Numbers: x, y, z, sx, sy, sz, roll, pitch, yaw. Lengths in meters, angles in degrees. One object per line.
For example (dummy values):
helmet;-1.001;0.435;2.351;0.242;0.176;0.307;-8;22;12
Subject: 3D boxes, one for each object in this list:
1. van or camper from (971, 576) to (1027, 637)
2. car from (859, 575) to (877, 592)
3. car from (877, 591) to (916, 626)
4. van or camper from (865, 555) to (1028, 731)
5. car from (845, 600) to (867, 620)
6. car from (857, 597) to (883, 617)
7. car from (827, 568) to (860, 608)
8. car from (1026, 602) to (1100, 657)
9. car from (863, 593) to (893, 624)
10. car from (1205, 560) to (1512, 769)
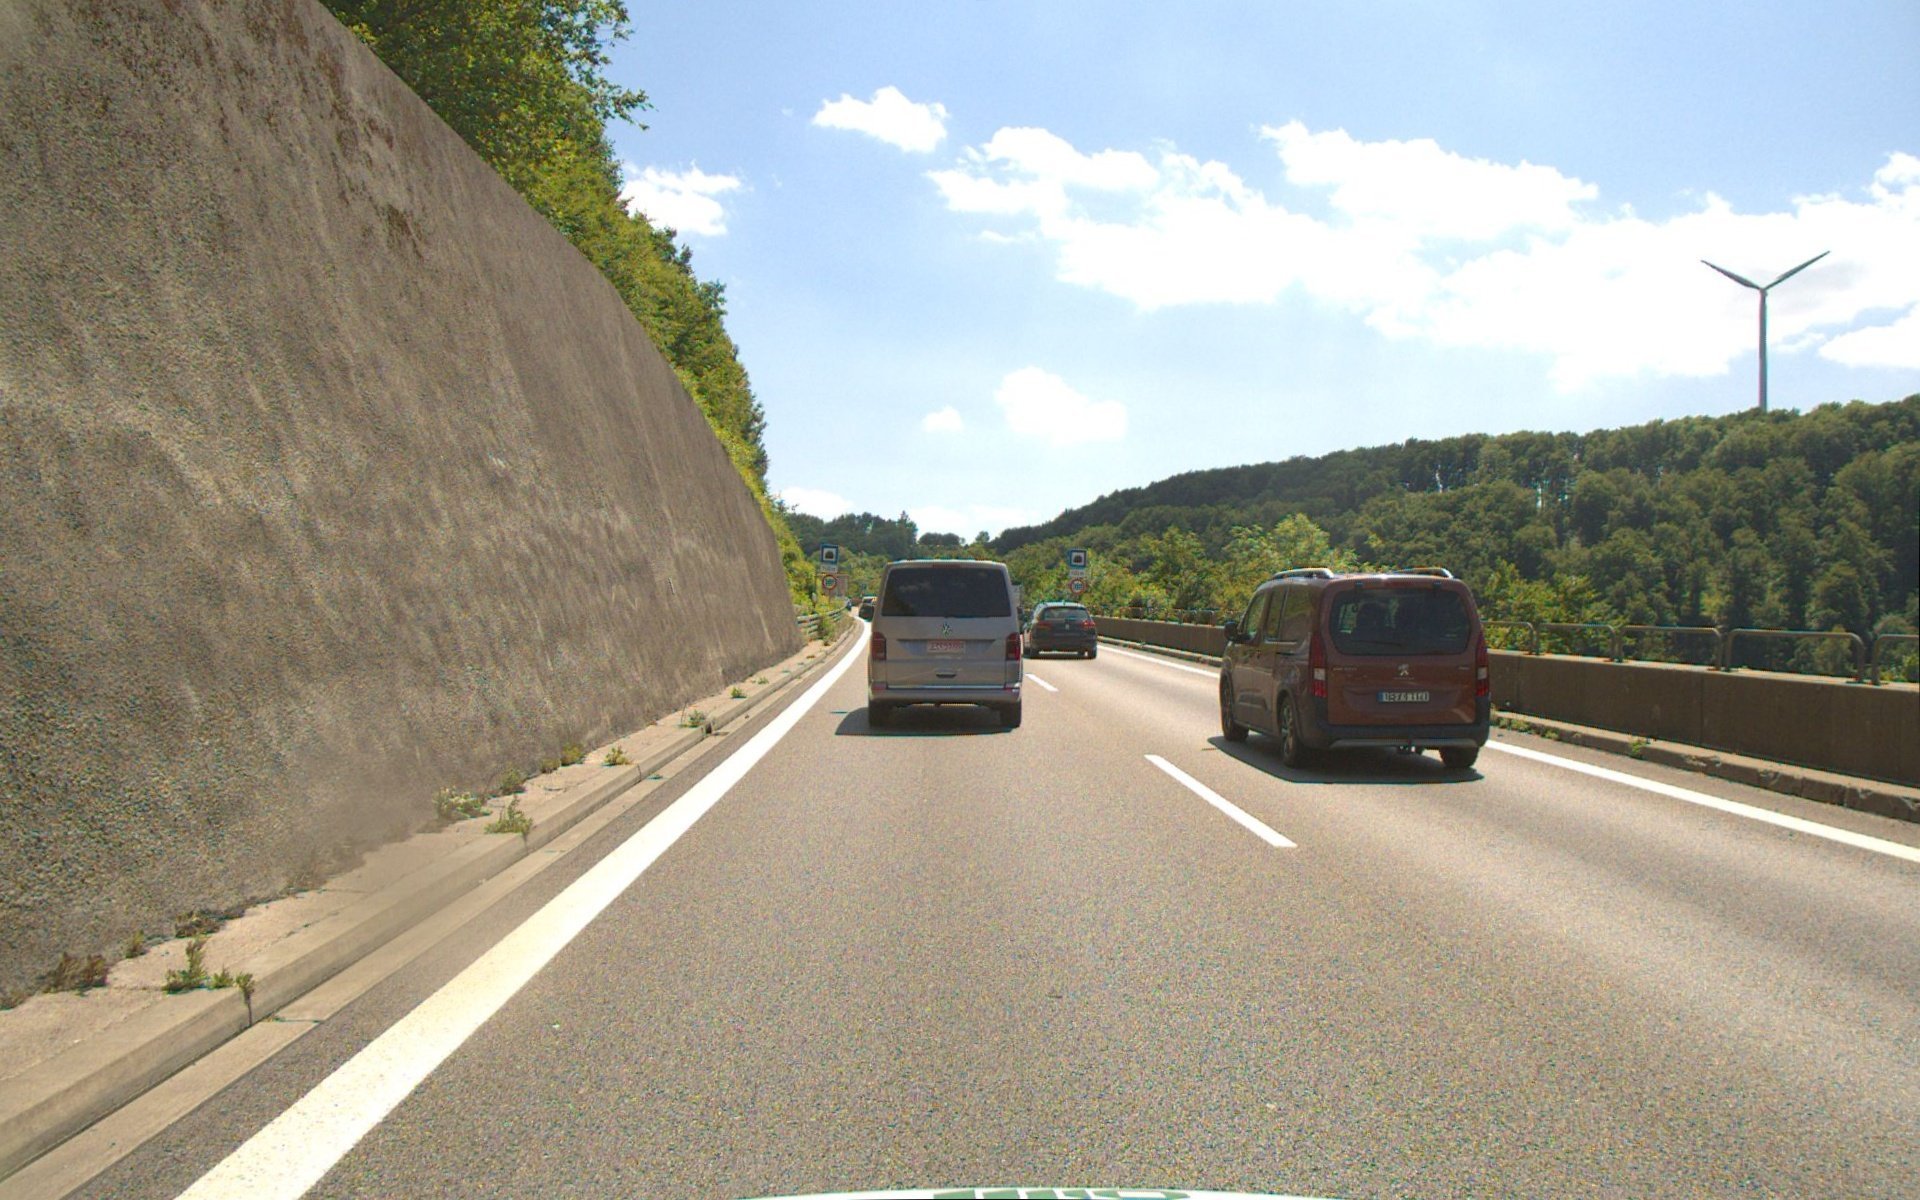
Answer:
van or camper;1.702;0.282;74.155;2.218;2.596;4.734;-1;0;-2
car;-11.706;-2.097;210.276;1.957;2.049;3.991;0;0;-9
car;-3.435;0.458;88.802;1.954;1.849;3.997;0;0;-4
van or camper;-0.142;0.455;20.993;1.837;1.983;4.294;-1;1;0
car;-10.730;1.025;170.809;1.953;2.049;3.999;-1;-1;0
car;-7.613;0.559;140.190;2.101;1.635;5.073;0;0;-4
car;-14.827;-1.472;210.103;3.964;4.957;10.099;0;0;-5
car;2.754;0.776;44.904;1.733;1.400;3.592;0;0;-1
car;-5.363;0.540;108.011;1.954;1.948;3.997;0;0;-3
car;3.835;0.582;16.810;1.797;1.815;4.673;0;-1;-3
